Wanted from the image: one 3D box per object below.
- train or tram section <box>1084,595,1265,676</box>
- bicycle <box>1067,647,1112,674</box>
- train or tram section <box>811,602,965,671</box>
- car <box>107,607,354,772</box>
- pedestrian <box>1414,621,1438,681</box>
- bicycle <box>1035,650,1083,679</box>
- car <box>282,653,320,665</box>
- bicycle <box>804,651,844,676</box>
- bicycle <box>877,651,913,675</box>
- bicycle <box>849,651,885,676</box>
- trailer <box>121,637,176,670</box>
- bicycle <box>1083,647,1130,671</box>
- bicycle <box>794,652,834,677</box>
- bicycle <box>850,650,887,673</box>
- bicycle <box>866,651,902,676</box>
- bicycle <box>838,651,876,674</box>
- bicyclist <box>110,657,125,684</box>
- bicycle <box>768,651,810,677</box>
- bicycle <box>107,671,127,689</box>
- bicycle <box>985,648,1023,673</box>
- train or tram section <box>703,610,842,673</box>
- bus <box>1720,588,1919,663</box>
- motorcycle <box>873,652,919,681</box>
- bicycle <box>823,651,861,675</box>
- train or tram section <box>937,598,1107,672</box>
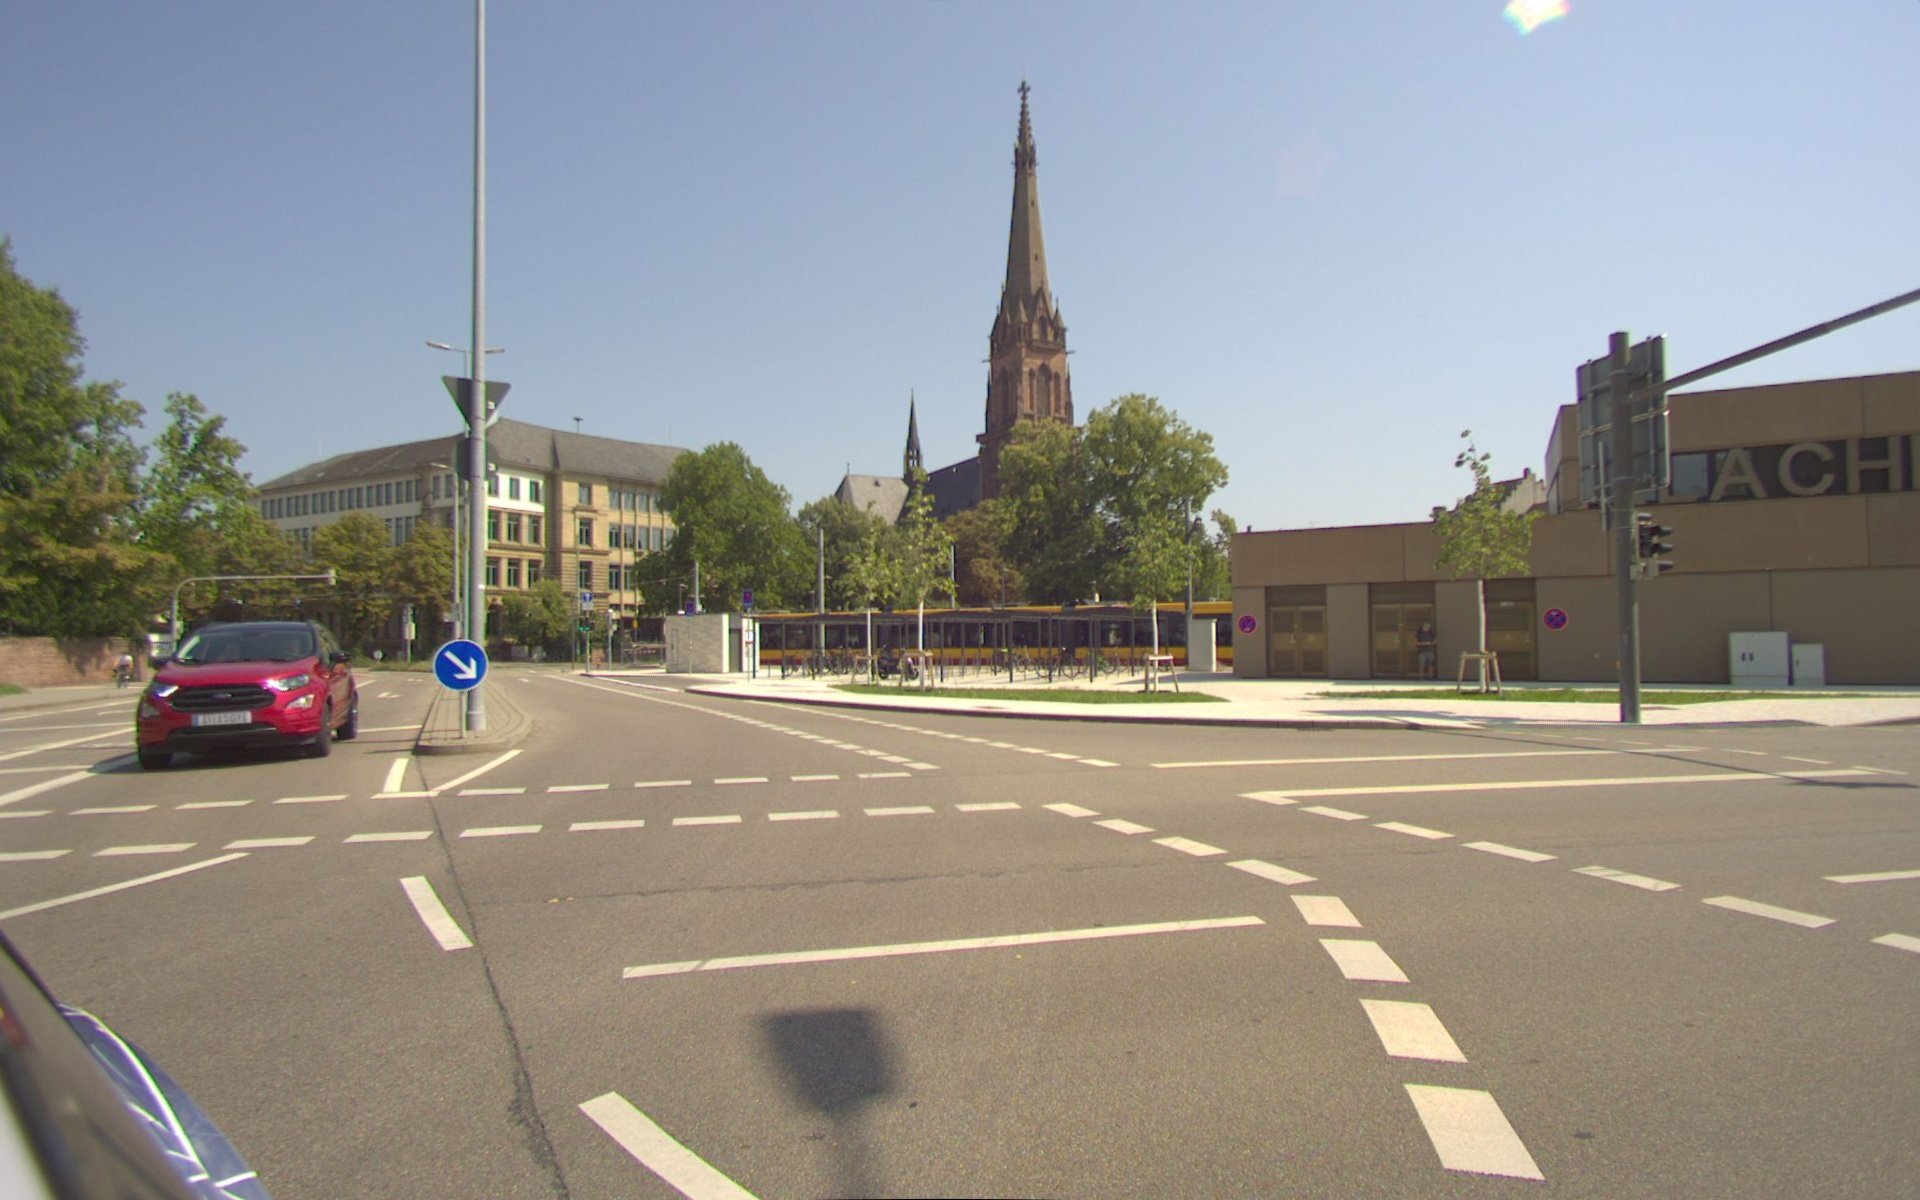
[{"bbox_3d":[10.581,1.868,50.186,8.207,3.625,3.131,-3,-4,28],"label":"train or tram section"},{"bbox_3d":[5.223,2.451,40.857,1.719,1.048,0.511,-2,-3,16],"label":"bicycle"},{"bbox_3d":[-4.193,2.204,58.187,8.486,3.625,3.131,-3,-4,28],"label":"train or tram section"},{"bbox_3d":[-8.530,1.001,12.215,1.813,1.627,4.012,1,-3,-27],"label":"car"},{"bbox_3d":[13.154,1.439,28.541,0.533,1.691,0.563,-2,-3,27],"label":"pedestrian"},{"bbox_3d":[3.696,2.412,37.895,1.722,1.048,0.510,-2,-3,22],"label":"bicycle"},{"bbox_3d":[-65.613,5.891,100.811,1.244,1.185,3.034,-2,-3,23],"label":"car"},{"bbox_3d":[-5.912,2.766,43.947,1.763,1.048,0.521,-3,-4,31],"label":"bicycle"},{"bbox_3d":[-2.932,2.847,45.583,1.634,1.048,0.408,-3,-4,31],"label":"bicycle"},{"bbox_3d":[-4.003,2.739,43.443,1.634,1.048,0.408,-3,-4,31],"label":"bicycle"},{"bbox_3d":[-82.435,5.423,102.748,5.061,3.313,2.420,-2,-3,26],"label":"trailer"},{"bbox_3d":[6.130,2.483,42.351,1.847,0.993,0.509,-2,-3,27],"label":"bicycle"},{"bbox_3d":[-6.238,2.762,43.284,1.763,1.048,0.521,-3,-4,31],"label":"bicycle"},{"bbox_3d":[-4.333,2.912,47.755,1.763,1.048,0.521,-3,-4,31],"label":"bicycle"},{"bbox_3d":[-3.344,2.773,44.273,1.634,1.048,0.408,-3,-4,31],"label":"bicycle"},{"bbox_3d":[-4.767,2.876,46.690,1.763,1.048,0.521,-3,-4,31],"label":"bicycle"},{"bbox_3d":[-39.024,3.259,46.894,0.426,1.242,0.542,1,-3,-29],"label":"bicyclist"},{"bbox_3d":[-7.185,2.676,42.427,1.858,1.090,0.521,-3,-4,31],"label":"bicycle"},{"bbox_3d":[-39.010,3.696,46.855,0.430,0.818,1.490,1,-3,-29],"label":"bicycle"},{"bbox_3d":[1.863,2.585,43.139,1.634,1.048,0.408,-3,-4,31],"label":"bicycle"},{"bbox_3d":[-11.580,2.637,62.170,8.289,3.588,3.108,-3,-5,28],"label":"train or tram section"},{"bbox_3d":[40.161,1.093,42.736,12.426,3.094,3.077,-2,-3,29],"label":"bus"},{"bbox_3d":[-2.441,2.535,38.494,1.773,1.077,0.486,-3,-4,31],"label":"motorcycle"},{"bbox_3d":[-5.307,2.827,45.515,1.763,1.048,0.521,-3,-4,31],"label":"bicycle"},{"bbox_3d":[3.259,1.974,54.150,8.486,3.625,3.131,-3,-4,28],"label":"train or tram section"}]
